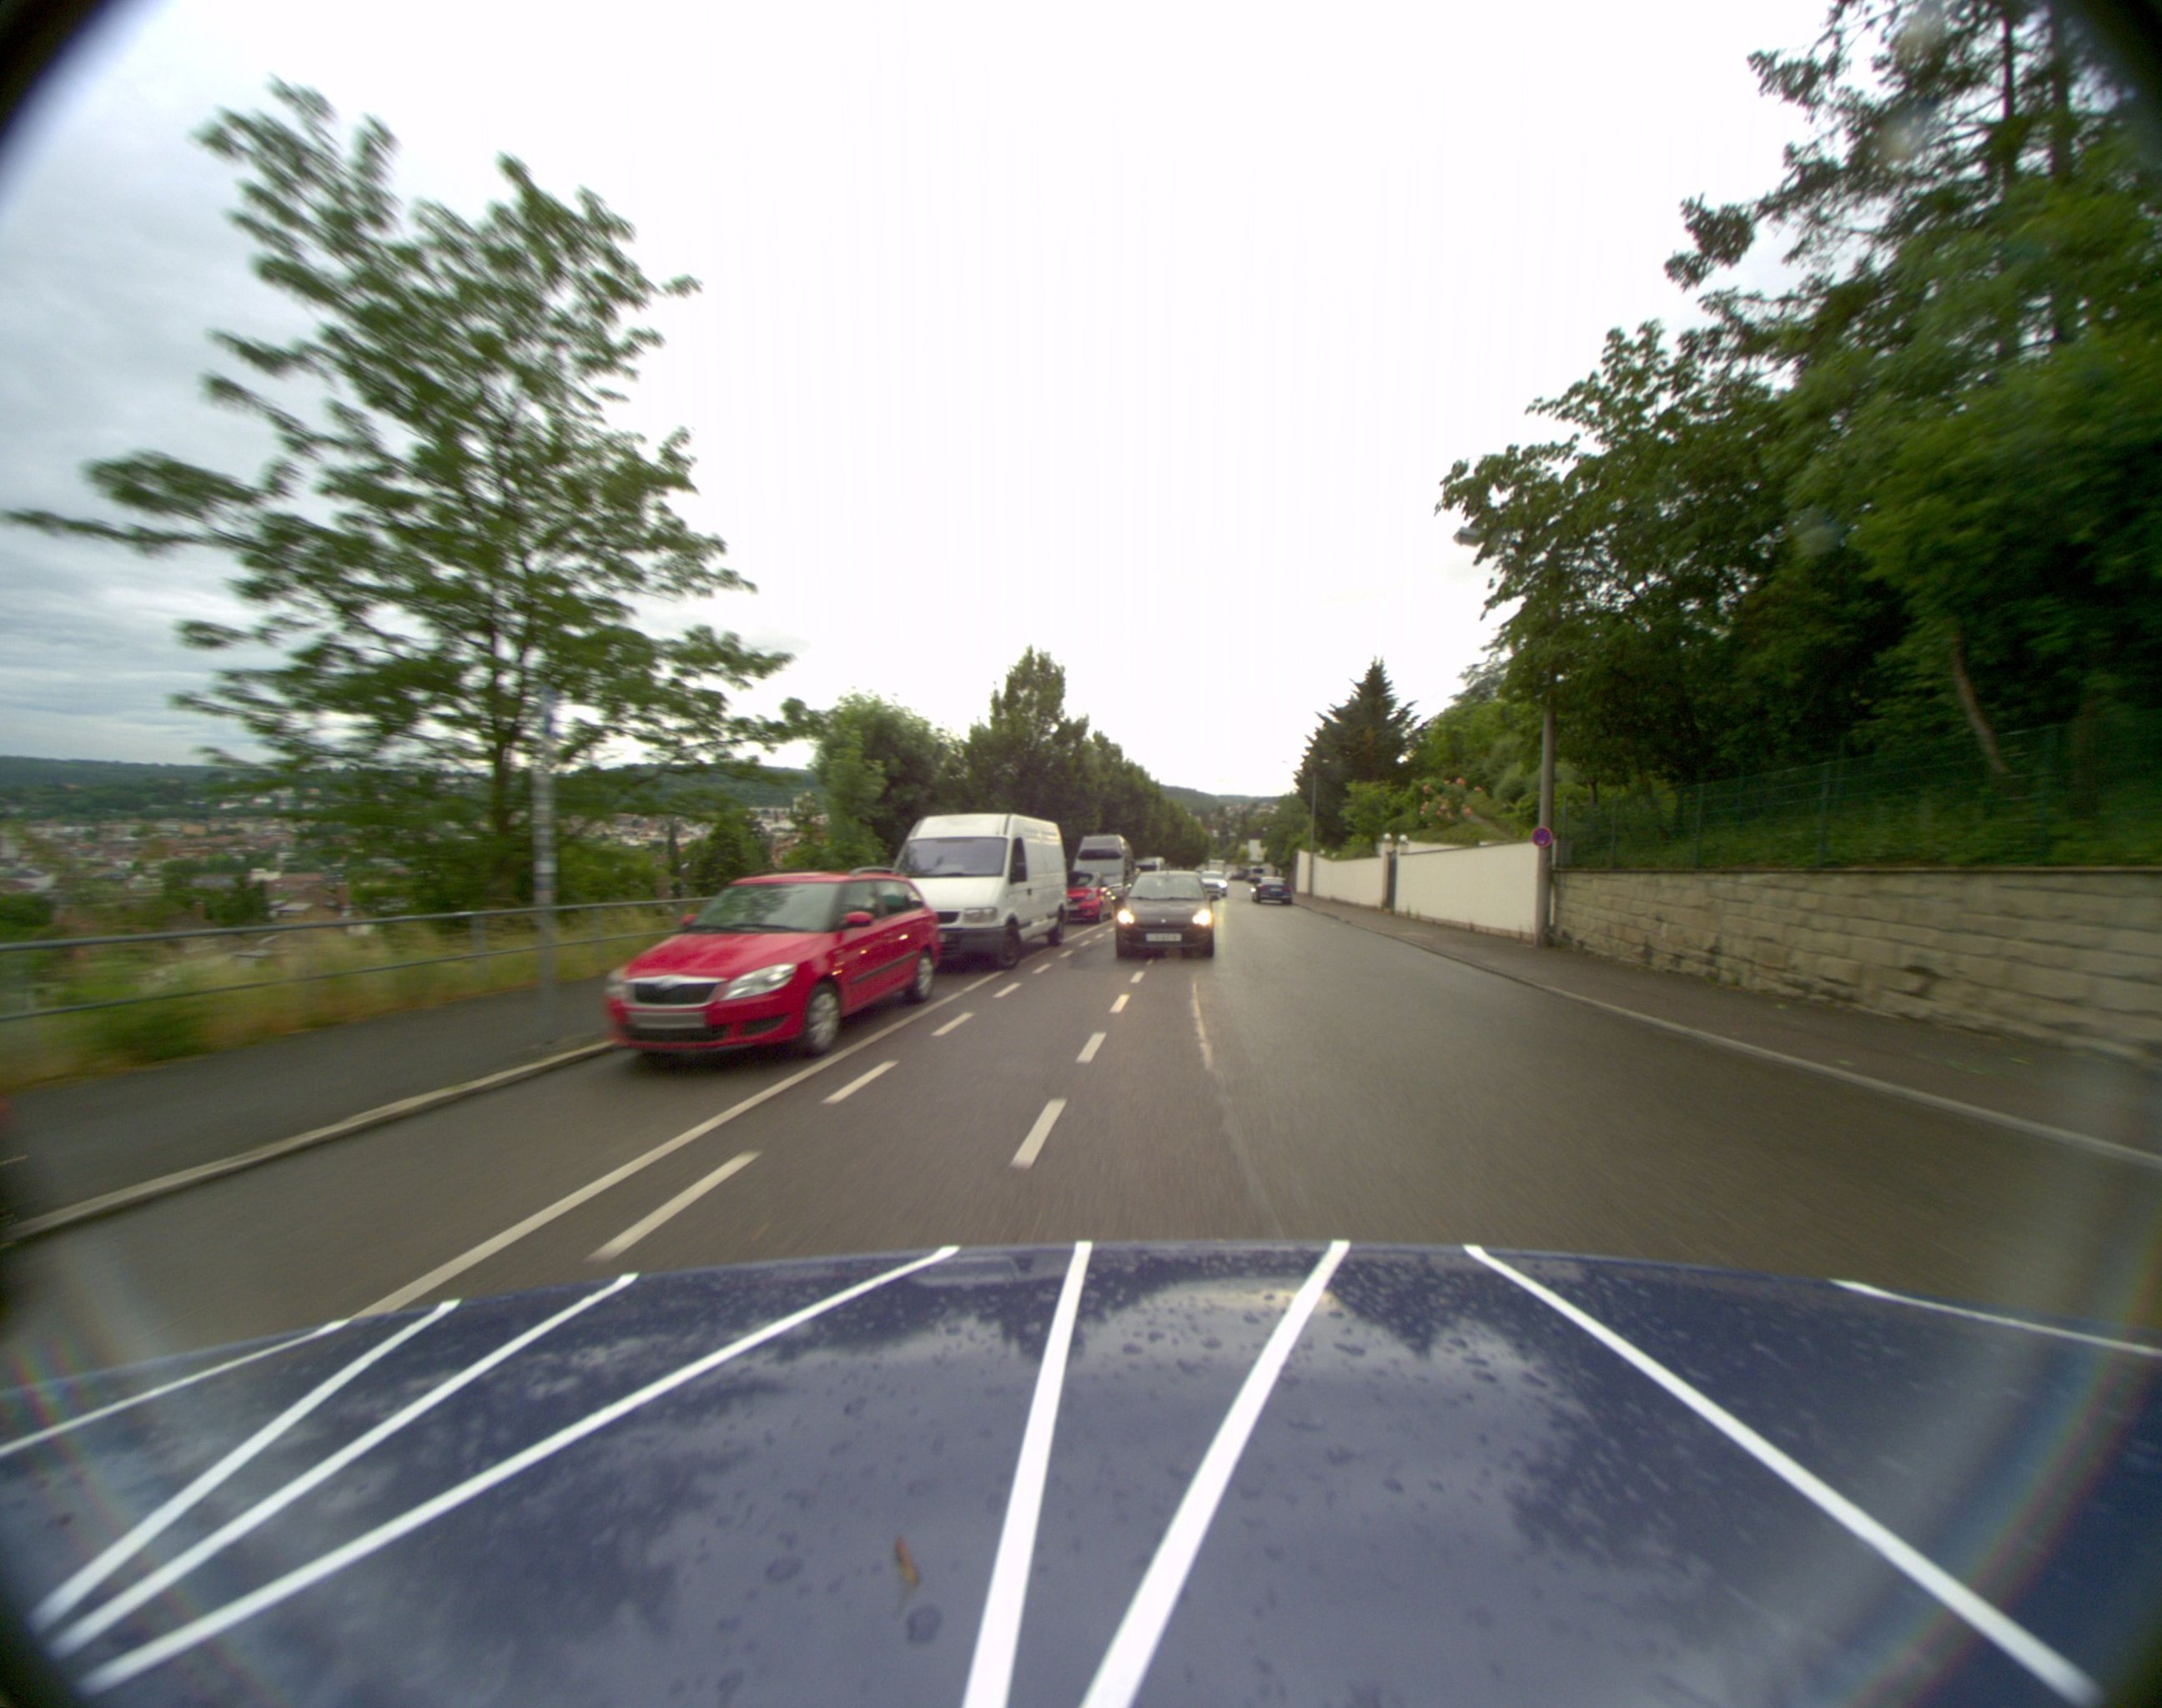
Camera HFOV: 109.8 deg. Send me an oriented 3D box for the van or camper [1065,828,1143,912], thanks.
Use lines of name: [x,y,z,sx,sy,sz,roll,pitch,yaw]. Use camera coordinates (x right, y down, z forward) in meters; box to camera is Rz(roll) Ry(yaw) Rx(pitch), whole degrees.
van or camper: [1.014,0.624,29.062,2.128,2.892,5.733,0,-1,10]

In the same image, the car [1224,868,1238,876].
car: [28.458,3.442,144.099,1.851,1.488,3.767,2,-1,-3]

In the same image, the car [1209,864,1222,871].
car: [27.690,2.818,156.735,1.851,1.488,3.766,1,0,-3]

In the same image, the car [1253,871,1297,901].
car: [10.192,1.646,40.205,1.810,1.421,4.258,2,-1,9]

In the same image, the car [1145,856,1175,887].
car: [5.826,1.292,55.680,1.723,2.125,4.408,-1,-1,11]

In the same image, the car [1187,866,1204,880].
car: [13.417,2.233,88.841,1.723,1.618,4.408,-1,-1,11]

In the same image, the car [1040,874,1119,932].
car: [0.053,1.356,22.214,1.685,1.530,3.837,0,-1,10]

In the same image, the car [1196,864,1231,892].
car: [8.888,1.563,50.719,2.189,1.698,4.887,1,0,11]

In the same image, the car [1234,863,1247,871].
car: [28.684,2.369,136.946,1.850,1.488,3.769,1,0,4]

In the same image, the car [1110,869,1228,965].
car: [1.825,1.039,14.399,1.782,1.477,4.410,1,-1,12]

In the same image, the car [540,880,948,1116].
car: [-2.719,1.048,7.331,1.623,1.530,4.218,0,-1,8]

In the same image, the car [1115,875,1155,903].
car: [2.959,1.839,41.048,1.724,1.366,4.407,-1,-1,9]

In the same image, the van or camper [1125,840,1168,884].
van or camper: [4.197,0.517,47.571,2.168,2.539,5.621,-1,-1,10]

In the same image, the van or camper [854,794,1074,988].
van or camper: [-1.676,0.566,13.299,2.077,2.645,5.601,0,-1,10]

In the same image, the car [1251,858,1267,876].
car: [26.054,1.873,111.253,2.107,2.468,4.570,2,-1,14]

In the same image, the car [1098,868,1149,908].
car: [2.051,1.527,35.308,1.723,1.738,4.408,-1,-1,11]

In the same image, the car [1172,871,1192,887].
car: [10.476,2.566,78.544,1.723,1.494,4.205,-1,-1,11]
